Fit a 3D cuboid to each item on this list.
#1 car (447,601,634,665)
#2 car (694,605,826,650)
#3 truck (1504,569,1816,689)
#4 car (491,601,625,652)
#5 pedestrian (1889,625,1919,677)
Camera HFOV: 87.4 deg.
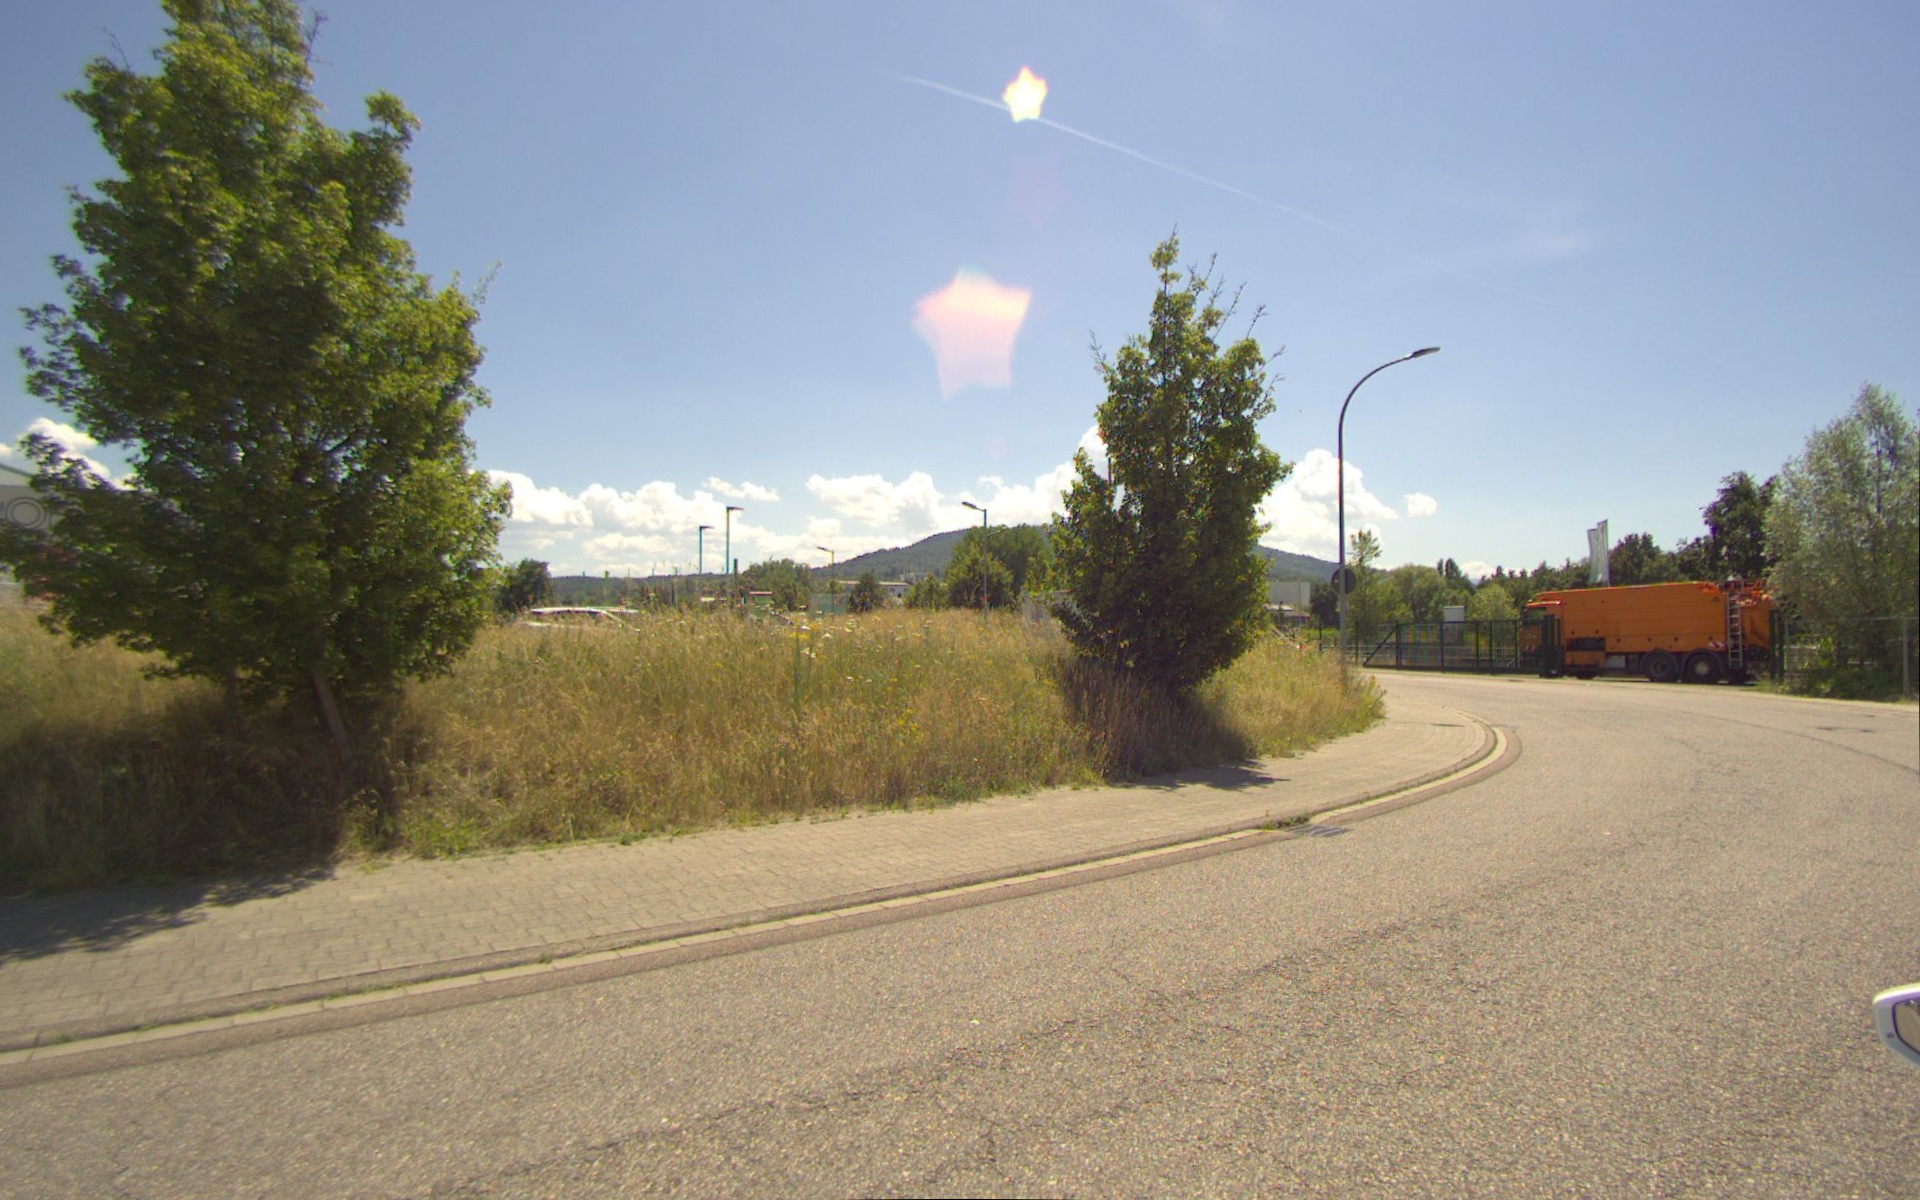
[{"bbox_3d":[-9.982,0.770,24.000,3.946,1.431,1.988,1,-1,-26],"label":"car"},{"bbox_3d":[-7.833,1.071,39.398,4.774,1.680,1.987,1,-1,-26],"label":"car"},{"bbox_3d":[25.475,1.125,37.199,4.110,3.856,8.556,1,-2,-26],"label":"truck"},{"bbox_3d":[-13.098,0.855,32.743,3.946,1.565,1.988,1,-1,-26],"label":"car"},{"bbox_3d":[34.039,1.805,35.988,0.730,1.849,0.874,1,-1,-24],"label":"pedestrian"}]
